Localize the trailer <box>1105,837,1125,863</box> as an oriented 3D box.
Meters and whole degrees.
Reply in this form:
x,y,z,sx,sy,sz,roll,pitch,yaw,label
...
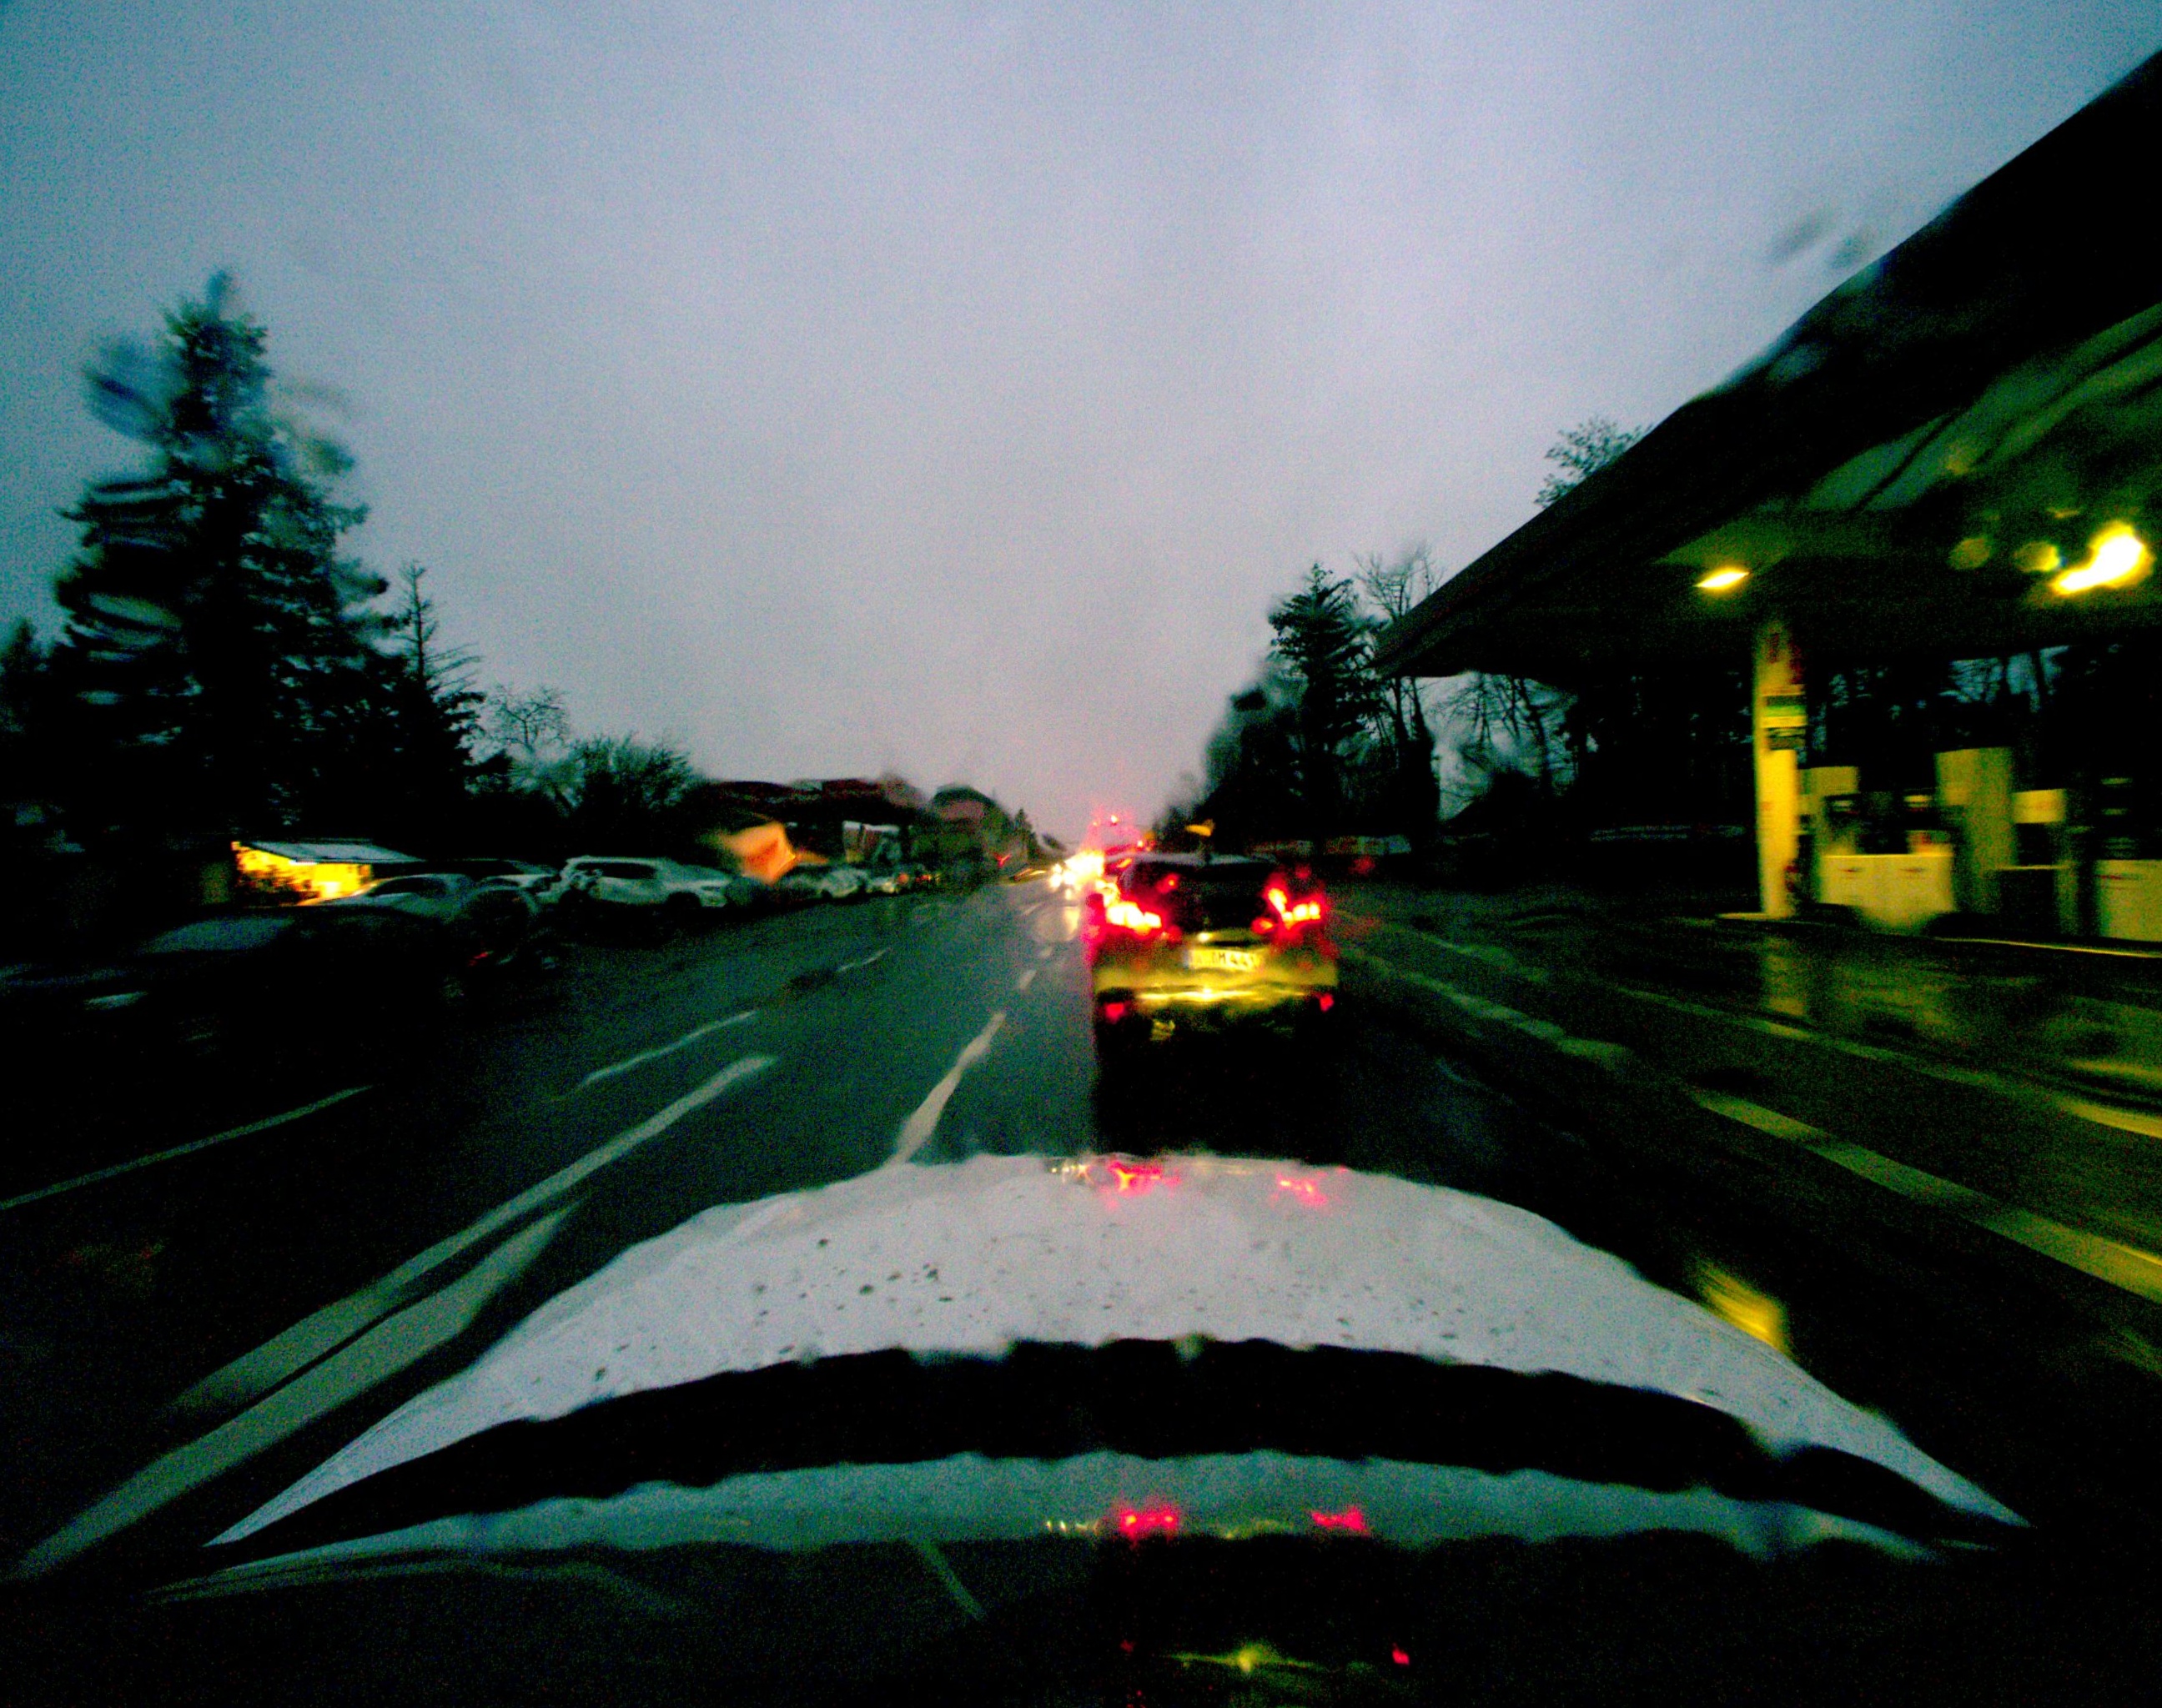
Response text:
x,y,z,sx,sy,sz,roll,pitch,yaw,label
4.537,-0.451,109.978,2.479,3.241,10.871,-1,-1,1,trailer

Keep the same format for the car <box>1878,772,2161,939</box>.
x,y,z,sx,sy,sz,roll,pitch,yaw,label
13.046,-0.032,10.157,1.986,1.859,4.300,-3,0,1,car

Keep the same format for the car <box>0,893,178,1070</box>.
x,y,z,sx,sy,sz,roll,pitch,yaw,label
-11.340,1.299,7.526,3.896,1.477,1.810,-5,0,1,car

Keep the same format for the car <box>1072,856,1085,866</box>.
x,y,z,sx,sy,sz,roll,pitch,yaw,label
-0.392,1.250,151.713,1.984,1.746,4.006,-4,-1,5,car

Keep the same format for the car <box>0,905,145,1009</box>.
x,y,z,sx,sy,sz,roll,pitch,yaw,label
-18.559,1.804,13.911,3.157,1.548,1.346,-4,1,-9,car

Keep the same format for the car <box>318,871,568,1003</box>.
x,y,z,sx,sy,sz,roll,pitch,yaw,label
-9.497,1.153,12.388,1.164,1.644,2.878,-3,0,10,car

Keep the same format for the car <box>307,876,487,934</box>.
x,y,z,sx,sy,sz,roll,pitch,yaw,label
-19.674,1.421,23.556,1.653,1.384,3.646,-2,0,35,car

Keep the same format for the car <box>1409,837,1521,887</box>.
x,y,z,sx,sy,sz,roll,pitch,yaw,label
13.726,0.257,28.985,4.508,1.608,1.995,-2,0,-42,car

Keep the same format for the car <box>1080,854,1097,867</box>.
x,y,z,sx,sy,sz,roll,pitch,yaw,label
1.018,0.845,108.548,2.041,1.573,4.700,-3,-1,-1,car

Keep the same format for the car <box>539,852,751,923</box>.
x,y,z,sx,sy,sz,roll,pitch,yaw,label
-11.539,0.852,21.836,4.523,1.676,2.008,-2,0,-3,car

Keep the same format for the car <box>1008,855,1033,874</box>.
x,y,z,sx,sy,sz,roll,pitch,yaw,label
-6.140,1.061,83.214,1.963,1.830,4.514,-3,0,2,car

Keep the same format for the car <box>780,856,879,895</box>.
x,y,z,sx,sy,sz,roll,pitch,yaw,label
-11.959,1.018,38.870,4.030,1.650,1.943,-2,0,3,car

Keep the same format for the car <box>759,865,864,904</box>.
x,y,z,sx,sy,sz,roll,pitch,yaw,label
-11.202,1.253,34.021,3.761,1.459,1.775,-1,0,-1,car

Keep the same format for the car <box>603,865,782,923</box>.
x,y,z,sx,sy,sz,roll,pitch,yaw,label
-11.421,1.168,24.133,4.316,1.498,1.997,-2,0,4,car

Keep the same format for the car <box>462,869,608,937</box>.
x,y,z,sx,sy,sz,roll,pitch,yaw,label
-15.537,1.340,23.428,1.664,1.676,3.706,-2,0,0,car

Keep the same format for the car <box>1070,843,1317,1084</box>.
x,y,z,sx,sy,sz,roll,pitch,yaw,label
0.812,0.716,7.310,1.559,1.529,4.009,-2,0,2,car

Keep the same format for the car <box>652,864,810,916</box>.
x,y,z,sx,sy,sz,roll,pitch,yaw,label
-11.417,1.167,26.750,4.319,1.498,1.826,-2,0,2,car

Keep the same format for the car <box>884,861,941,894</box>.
x,y,z,sx,sy,sz,roll,pitch,yaw,label
-8.103,1.098,39.464,1.675,1.421,3.744,-2,0,4,car

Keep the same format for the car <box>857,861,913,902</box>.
x,y,z,sx,sy,sz,roll,pitch,yaw,label
-8.398,1.152,35.133,1.512,1.543,3.016,-3,0,1,car

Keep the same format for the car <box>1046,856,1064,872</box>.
x,y,z,sx,sy,sz,roll,pitch,yaw,label
-2.711,1.010,84.769,1.597,1.534,4.001,-4,0,1,car

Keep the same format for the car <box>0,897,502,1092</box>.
x,y,z,sx,sy,sz,roll,pitch,yaw,label
-8.175,1.190,8.228,1.565,1.321,4.255,-4,-2,0,car

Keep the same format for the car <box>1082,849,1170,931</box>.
x,y,z,sx,sy,sz,roll,pitch,yaw,label
0.995,0.722,18.502,1.701,1.575,4.466,-2,0,2,car

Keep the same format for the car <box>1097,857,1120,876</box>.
x,y,z,sx,sy,sz,roll,pitch,yaw,label
2.071,0.903,60.954,1.647,1.336,4.274,-2,0,2,car

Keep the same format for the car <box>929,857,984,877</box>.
x,y,z,sx,sy,sz,roll,pitch,yaw,label
-10.564,1.098,69.358,4.260,1.662,2.001,0,0,2,car
